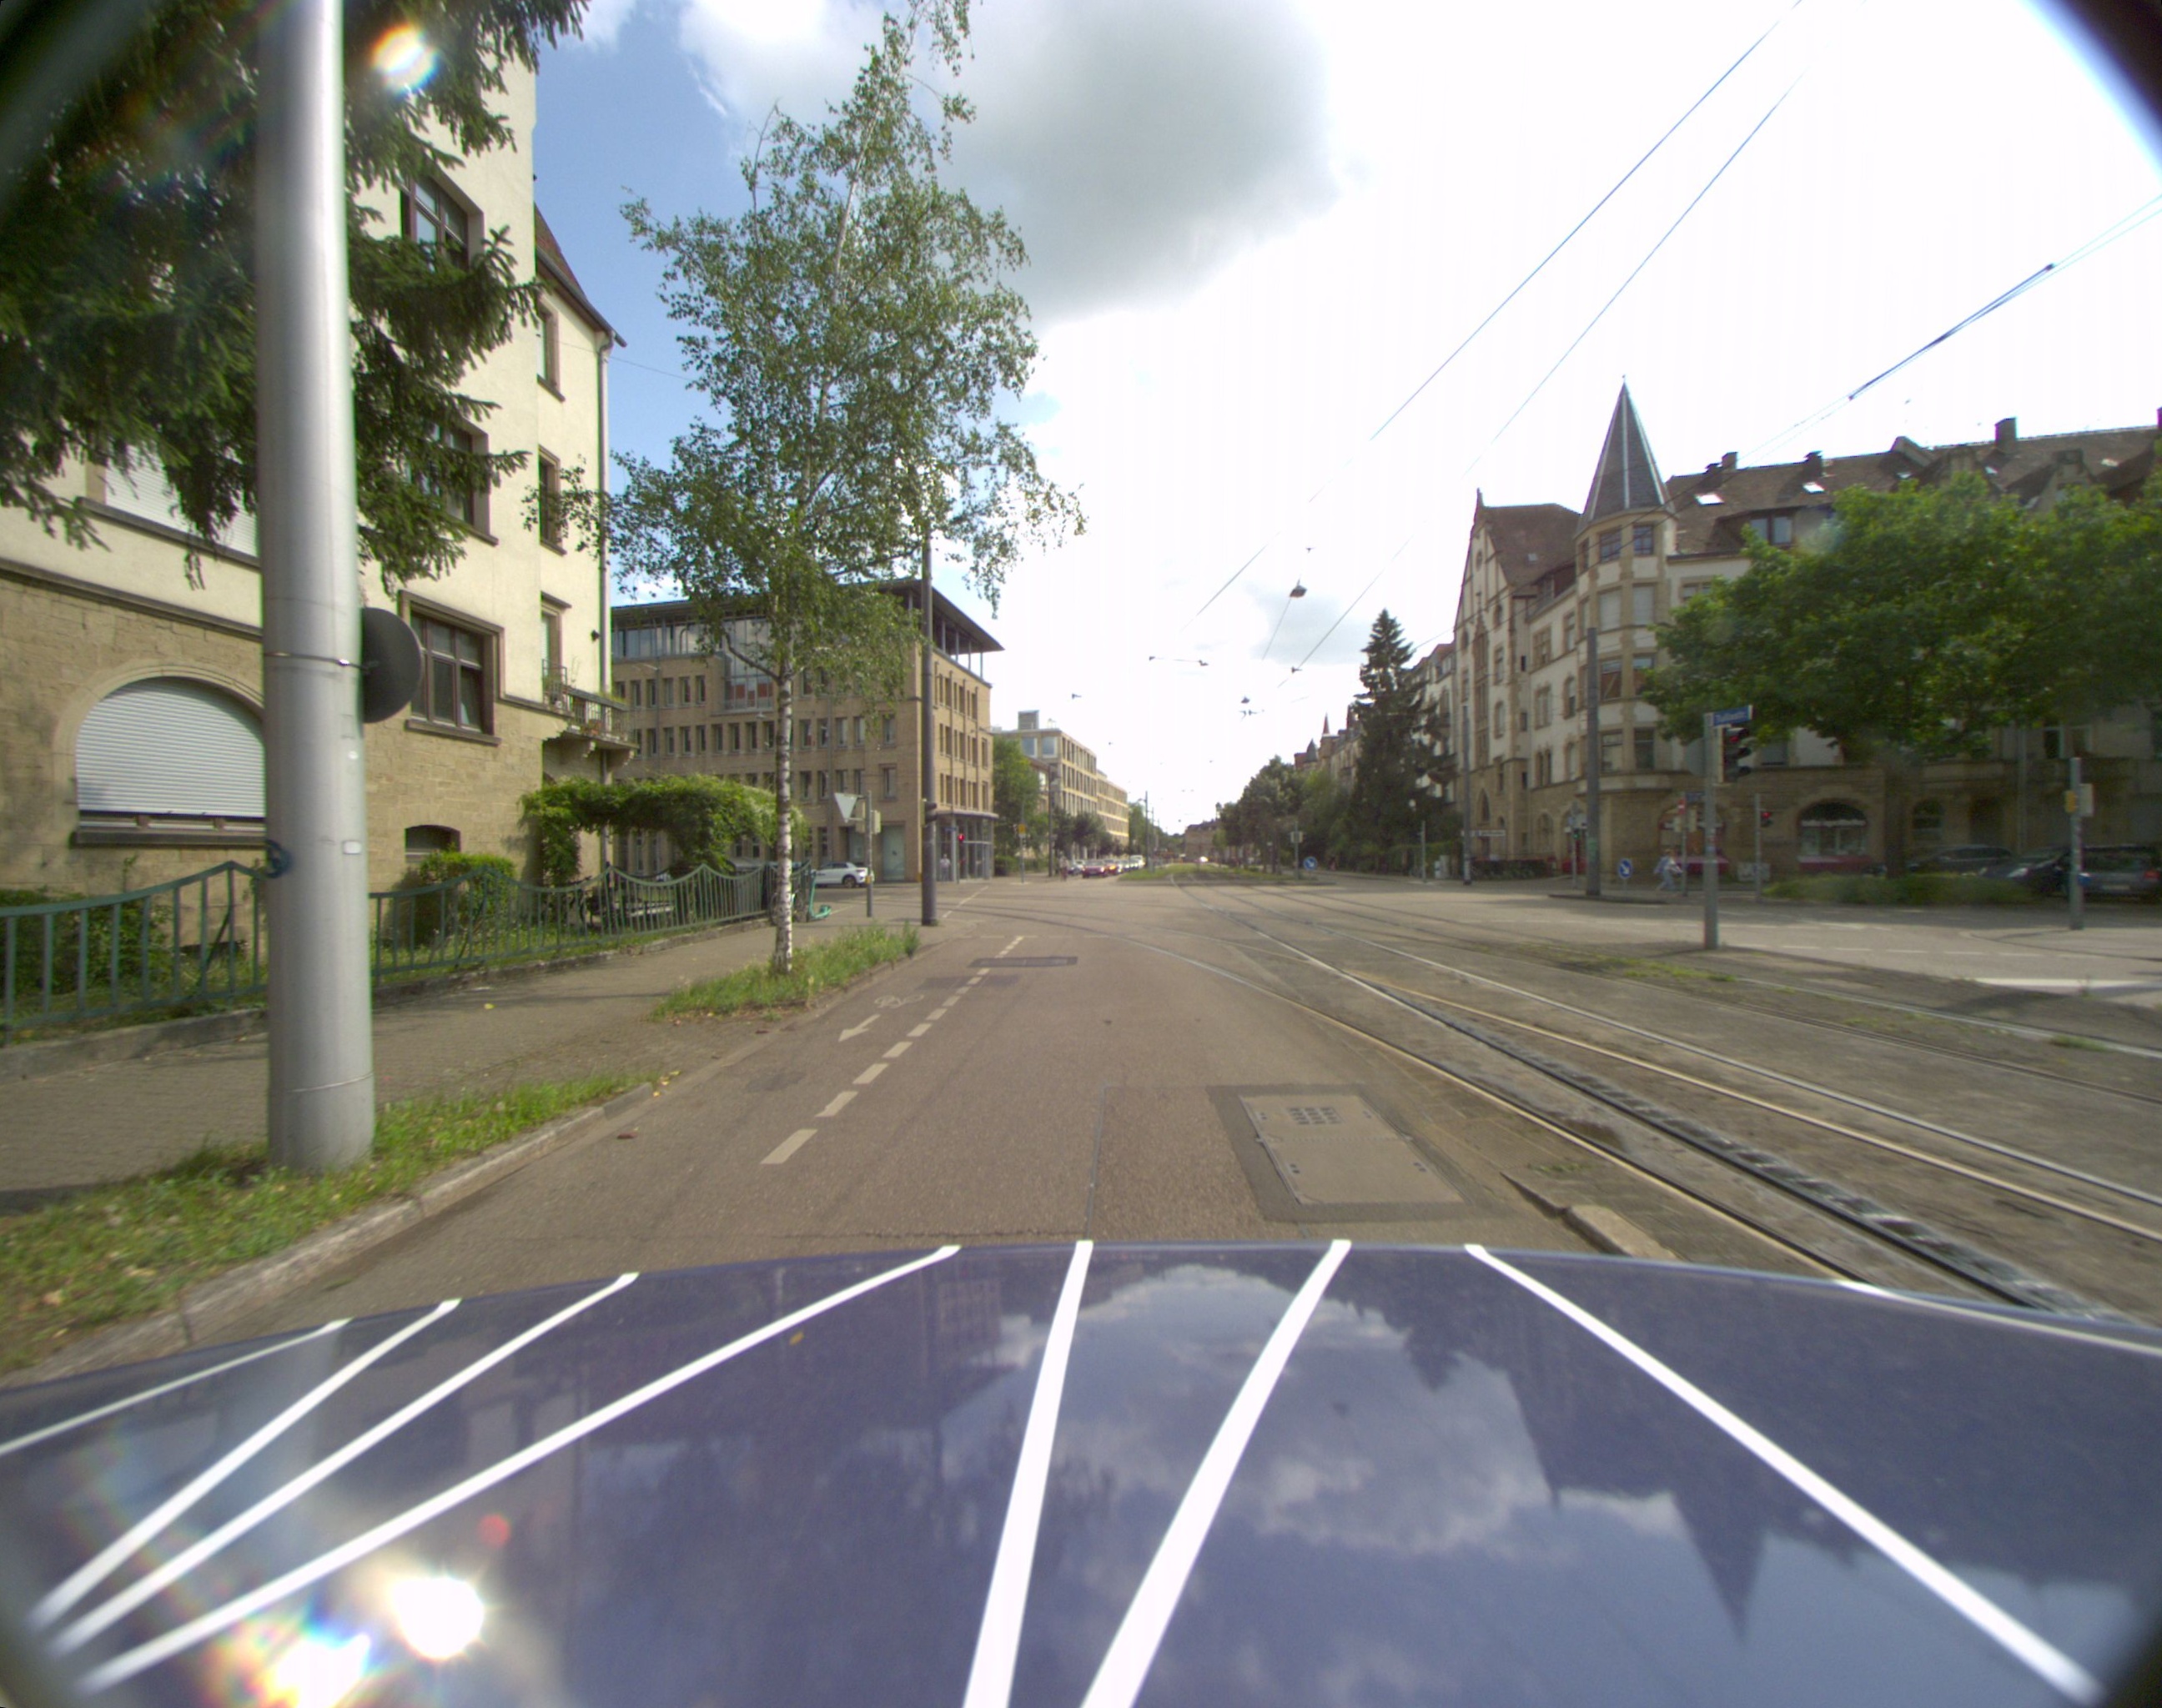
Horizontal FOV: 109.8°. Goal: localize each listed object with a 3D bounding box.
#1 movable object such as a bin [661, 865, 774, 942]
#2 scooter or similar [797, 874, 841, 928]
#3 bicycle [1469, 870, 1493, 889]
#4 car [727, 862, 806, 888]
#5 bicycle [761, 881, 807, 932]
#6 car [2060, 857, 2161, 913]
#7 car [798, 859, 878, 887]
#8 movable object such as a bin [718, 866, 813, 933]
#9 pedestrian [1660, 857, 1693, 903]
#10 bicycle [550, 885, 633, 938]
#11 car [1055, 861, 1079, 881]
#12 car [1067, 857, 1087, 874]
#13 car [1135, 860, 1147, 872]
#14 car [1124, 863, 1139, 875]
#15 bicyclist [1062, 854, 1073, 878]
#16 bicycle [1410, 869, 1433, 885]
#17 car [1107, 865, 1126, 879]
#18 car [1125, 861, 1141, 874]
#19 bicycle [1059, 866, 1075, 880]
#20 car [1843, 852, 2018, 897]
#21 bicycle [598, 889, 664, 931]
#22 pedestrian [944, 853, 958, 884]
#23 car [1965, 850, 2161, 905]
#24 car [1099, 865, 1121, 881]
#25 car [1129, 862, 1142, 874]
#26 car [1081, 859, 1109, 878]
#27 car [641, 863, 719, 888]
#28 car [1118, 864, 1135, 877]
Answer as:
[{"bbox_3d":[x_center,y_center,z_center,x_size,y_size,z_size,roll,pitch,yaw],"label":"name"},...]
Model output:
[{"bbox_3d":[-7.527,0.981,15.876,1.305,1.483,2.001,0,0,3],"label":"movable object such as a bin"},{"bbox_3d":[-6.089,1.069,17.722,0.521,1.172,1.188,2,0,4],"label":"scooter or similar"},{"bbox_3d":[22.075,1.406,41.973,0.591,0.967,1.630,-1,2,6],"label":"bicycle"},{"bbox_3d":[-18.125,1.219,43.841,3.993,1.413,1.679,-1,-1,13],"label":"car"},{"bbox_3d":[-6.523,1.134,16.740,0.350,1.016,1.481,2,0,2],"label":"bicycle"},{"bbox_3d":[31.827,0.888,23.359,4.236,1.536,1.994,-1,1,-39],"label":"car"},{"bbox_3d":[-13.668,1.077,42.852,3.993,1.538,1.679,-1,-1,13],"label":"car"},{"bbox_3d":[-7.424,1.027,18.023,1.305,1.483,2.001,0,0,3],"label":"movable object such as a bin"},{"bbox_3d":[22.728,0.981,29.009,0.932,1.730,0.771,-1,0,36],"label":"pedestrian"},{"bbox_3d":[-9.492,1.113,14.742,1.314,0.996,0.453,-1,0,2],"label":"bicycle"},{"bbox_3d":[-1.234,1.517,68.995,1.998,1.730,4.001,-1,0,1],"label":"car"},{"bbox_3d":[-0.419,1.161,77.354,1.835,1.674,4.001,-1,0,2],"label":"car"},{"bbox_3d":[8.711,1.750,109.935,1.645,1.610,3.714,-1,0,6],"label":"car"},{"bbox_3d":[5.896,1.758,88.531,1.619,1.265,4.002,-2,0,6],"label":"car"},{"bbox_3d":[-0.939,0.837,52.463,0.665,1.679,0.858,0,0,8],"label":"bicyclist"},{"bbox_3d":[22.002,1.461,49.147,0.625,0.966,2.337,-1,0,6],"label":"bicycle"},{"bbox_3d":[3.503,1.720,74.785,1.619,1.265,4.002,-2,0,6],"label":"car"},{"bbox_3d":[6.450,1.712,94.307,1.738,1.570,4.002,0,0,6],"label":"car"},{"bbox_3d":[-0.960,1.287,52.294,0.771,0.885,1.893,-1,0,8],"label":"bicycle"},{"bbox_3d":[33.062,0.785,29.707,4.261,1.675,2.001,0,0,9],"label":"car"},{"bbox_3d":[-9.917,1.226,16.766,1.169,0.895,0.453,-1,0,2],"label":"bicycle"},{"bbox_3d":[-7.715,0.842,44.947,0.737,1.832,0.806,-1,0,-13],"label":"pedestrian"},{"bbox_3d":[34.195,0.788,26.510,3.993,1.810,2.002,0,0,12],"label":"car"},{"bbox_3d":[2.546,1.608,66.467,1.619,1.265,4.002,-2,0,6],"label":"car"},{"bbox_3d":[7.312,1.881,101.270,1.579,1.549,4.002,-1,0,6],"label":"car"},{"bbox_3d":[1.096,1.084,58.940,1.740,1.313,4.002,-2,0,6],"label":"car"},{"bbox_3d":[-23.871,1.291,45.237,3.993,1.413,1.679,-1,-1,13],"label":"car"},{"bbox_3d":[4.923,1.787,81.596,1.619,1.265,4.002,-2,0,6],"label":"car"}]
